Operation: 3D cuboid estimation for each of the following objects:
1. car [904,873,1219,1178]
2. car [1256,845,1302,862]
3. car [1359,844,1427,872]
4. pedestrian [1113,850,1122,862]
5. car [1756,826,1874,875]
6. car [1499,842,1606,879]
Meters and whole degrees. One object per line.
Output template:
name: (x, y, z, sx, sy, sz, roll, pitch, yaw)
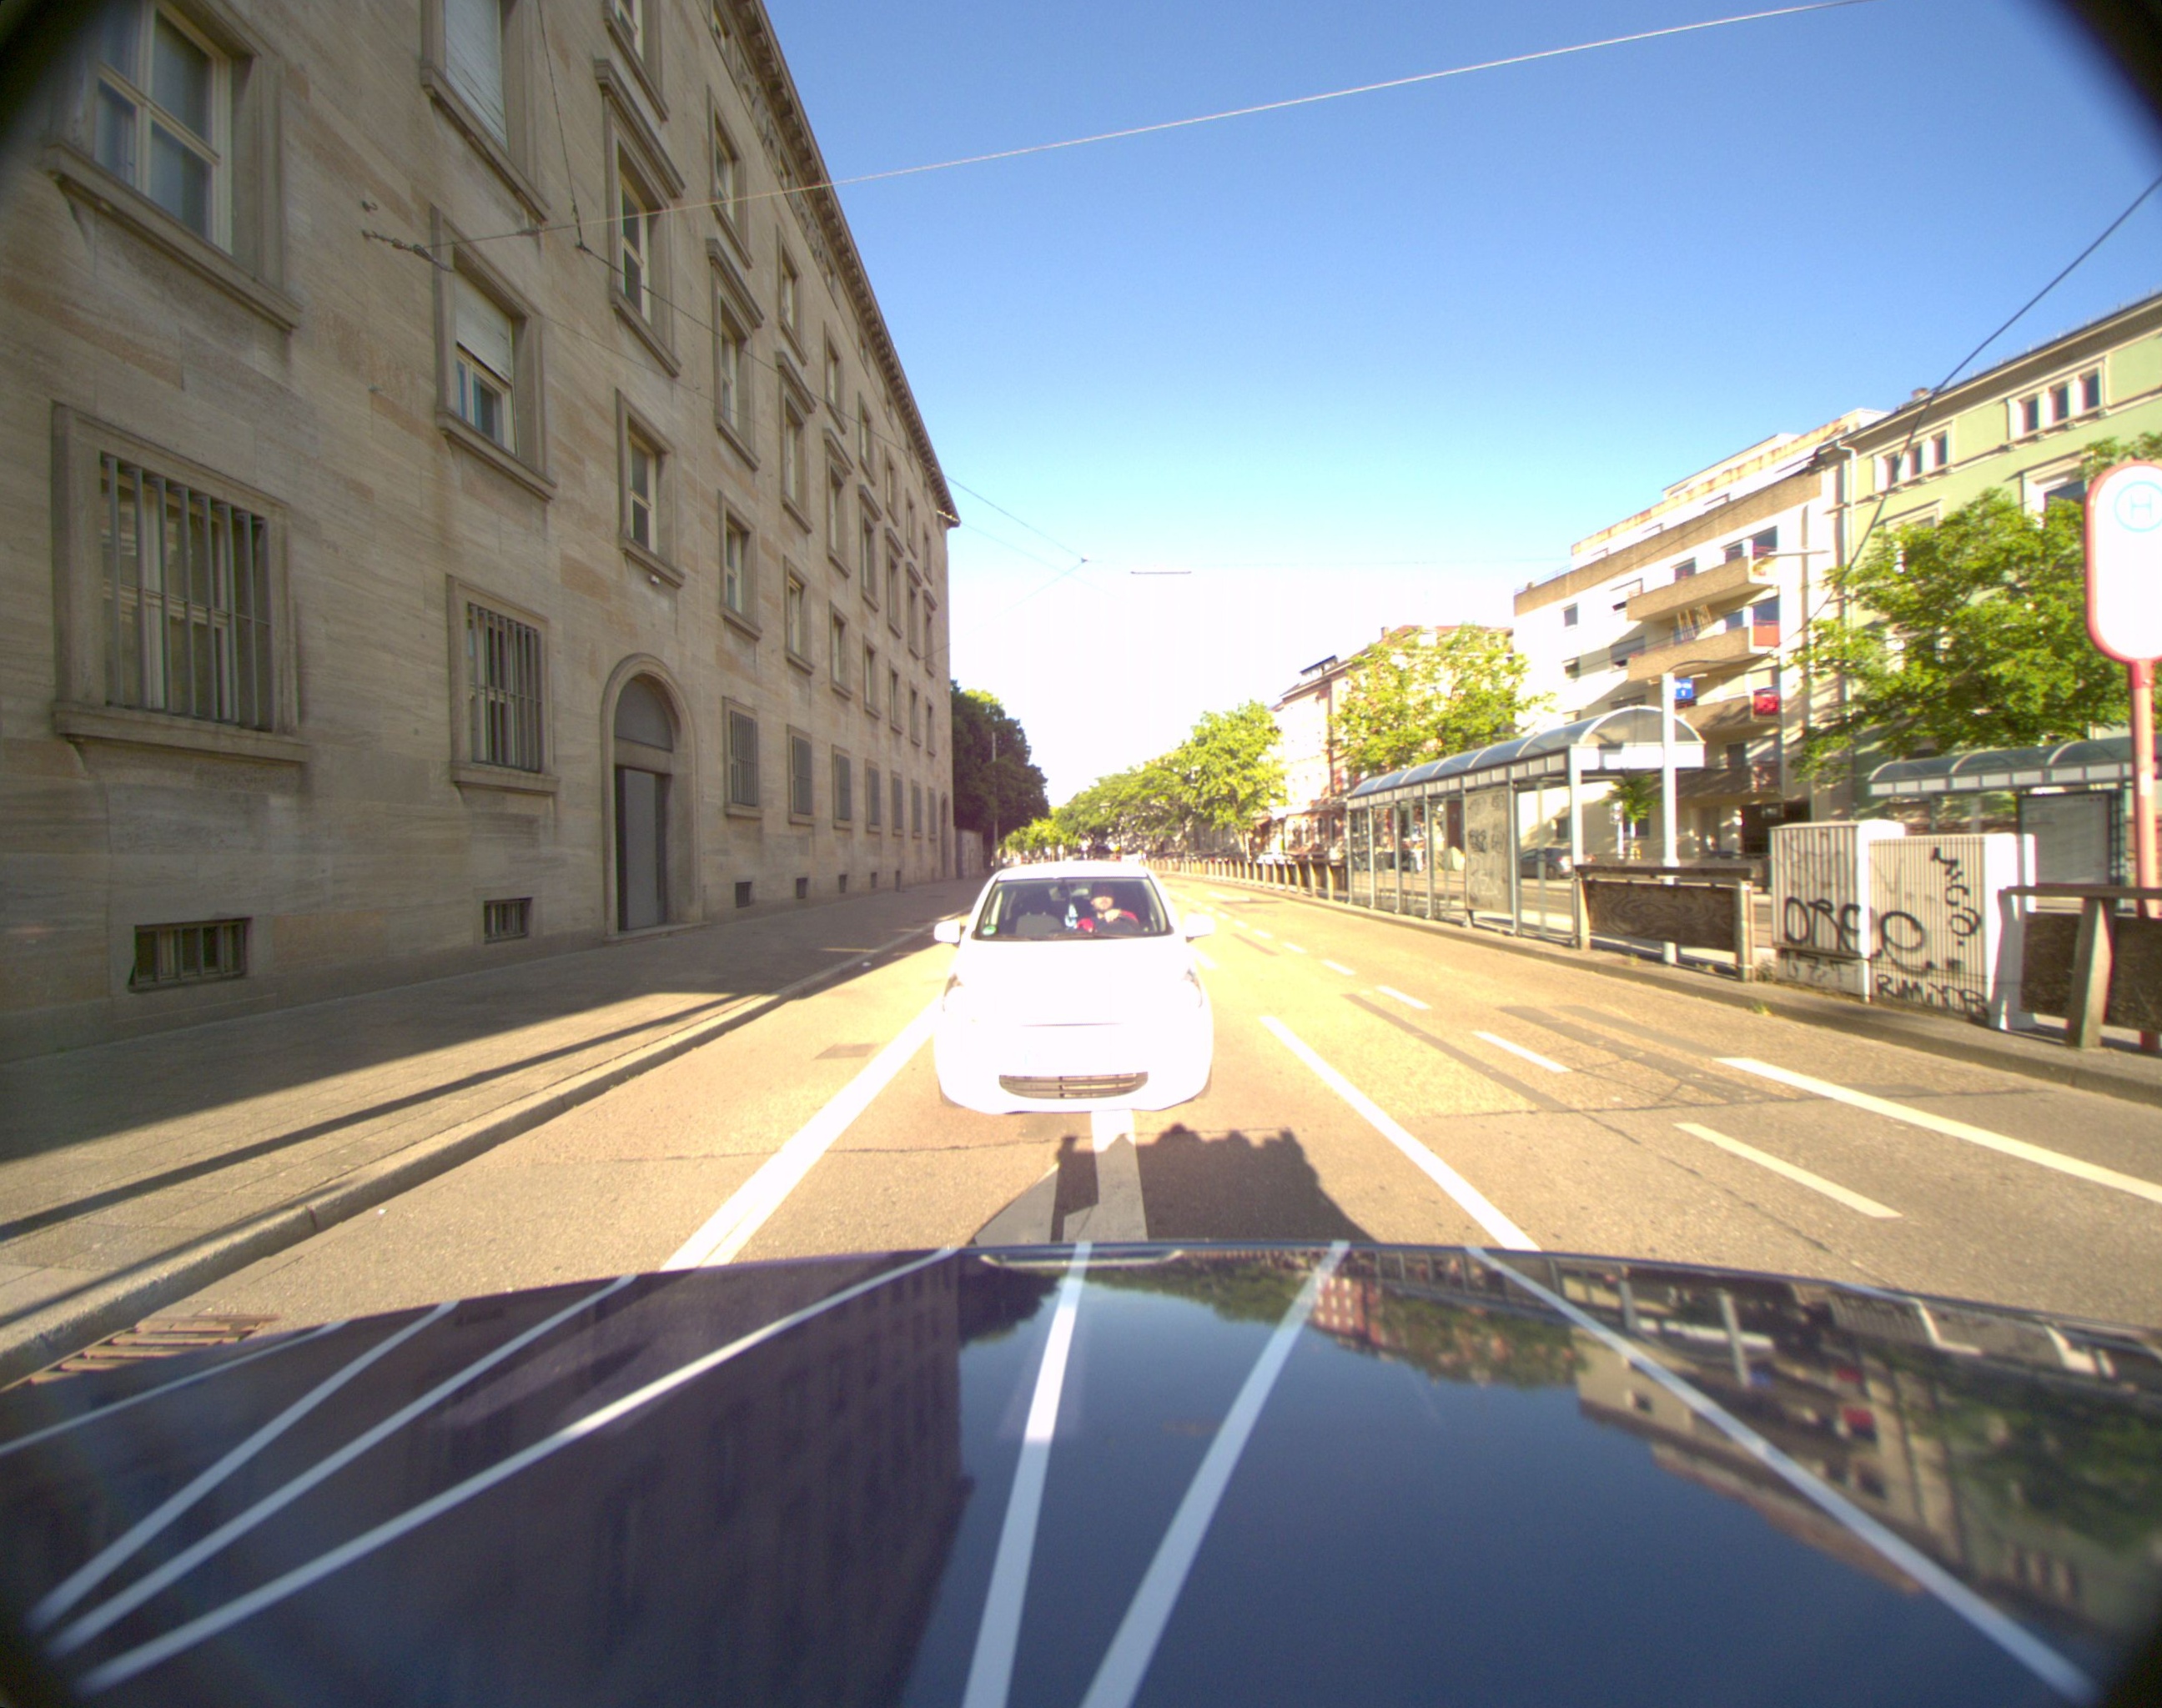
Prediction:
car: (-0.076, 0.940, 5.772, 1.606, 1.455, 3.621, -1, 0, 1)
car: (16.509, -0.063, 63.255, 3.648, 1.342, 1.578, -2, 1, -29)
car: (18.341, 0.227, 44.883, 2.000, 1.521, 3.997, -1, 0, -8)
pedestrian: (4.904, 0.257, 101.283, 0.930, 1.673, 0.685, -1, 1, -38)
car: (31.789, -0.160, 32.937, 4.001, 2.002, 1.798, -1, 1, -13)
car: (21.081, 0.275, 34.178, 2.000, 1.521, 3.997, -1, 0, -8)
